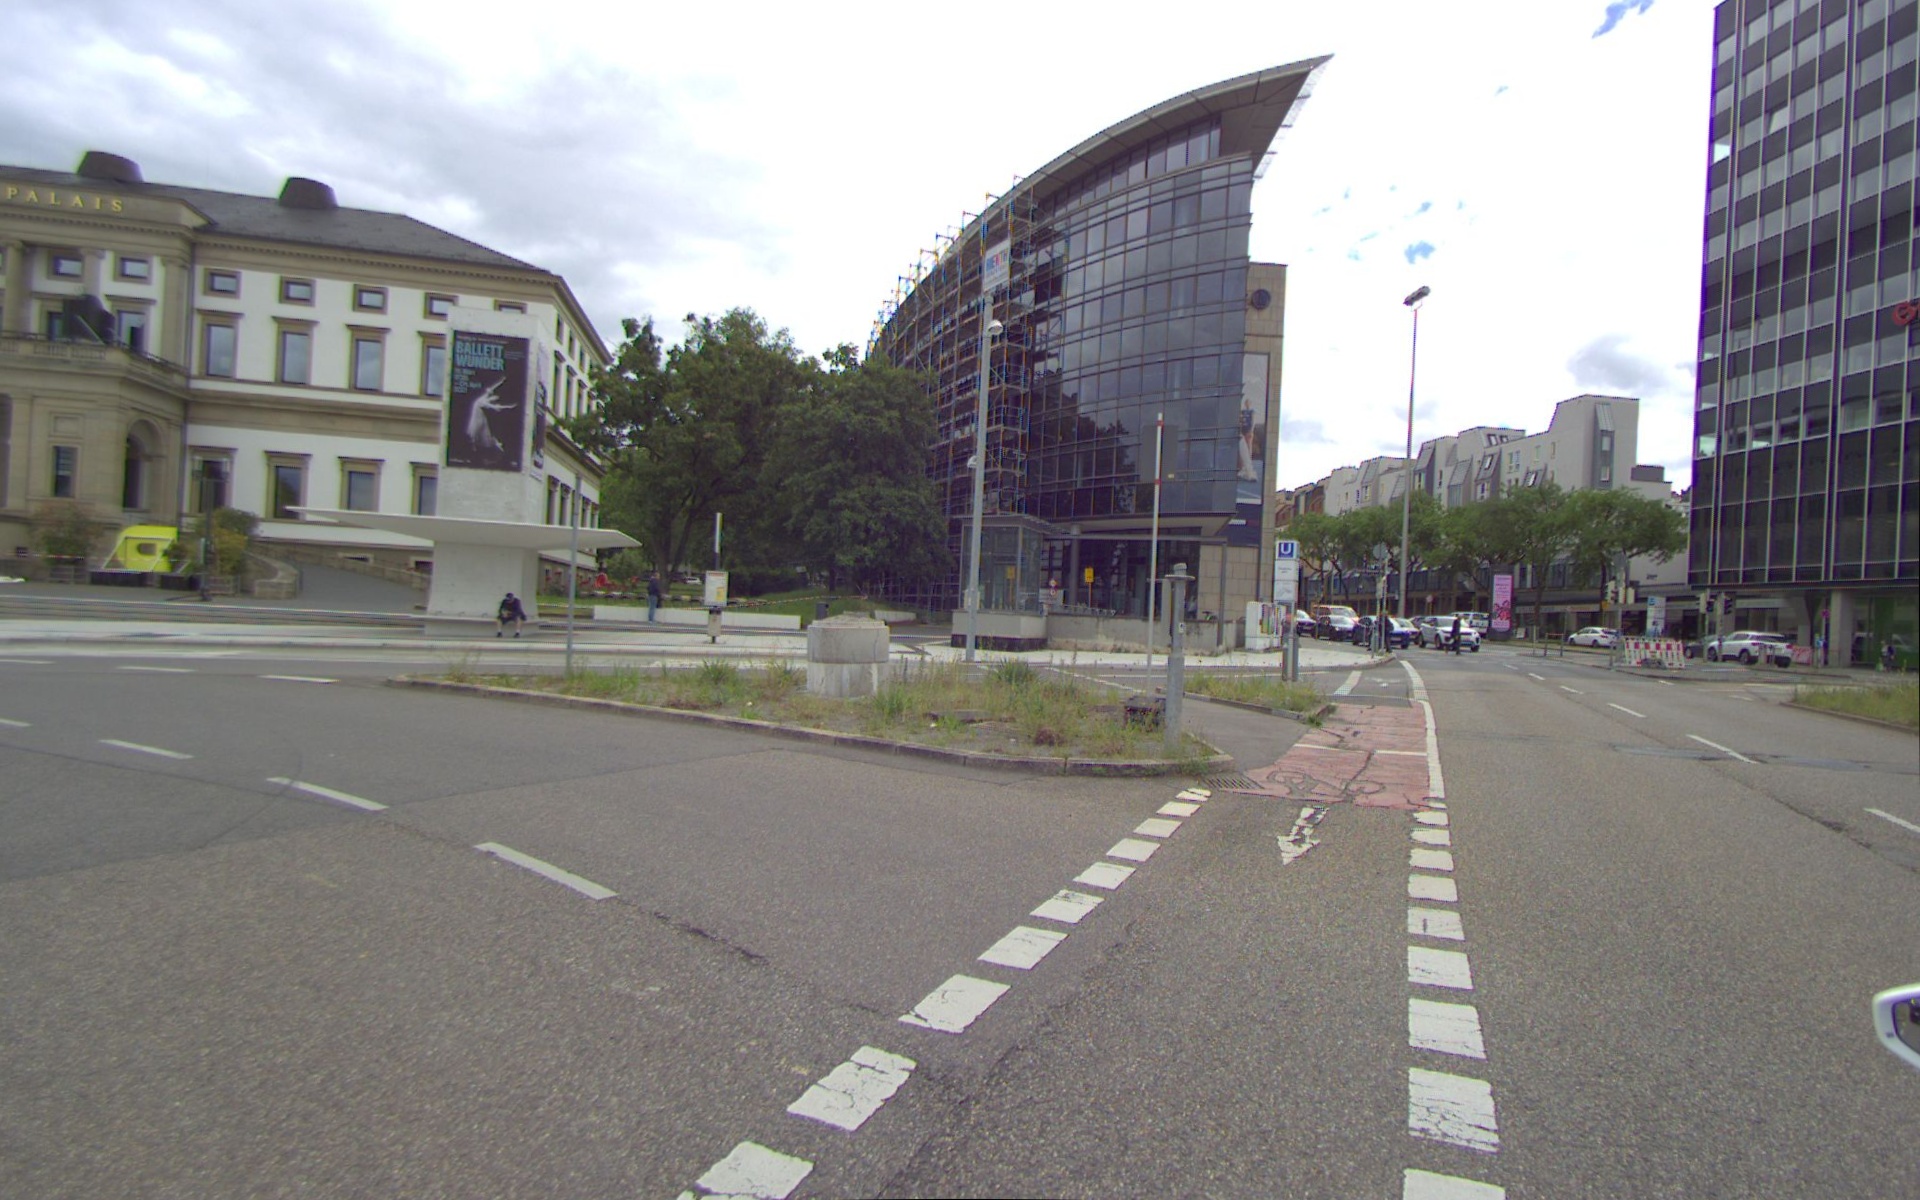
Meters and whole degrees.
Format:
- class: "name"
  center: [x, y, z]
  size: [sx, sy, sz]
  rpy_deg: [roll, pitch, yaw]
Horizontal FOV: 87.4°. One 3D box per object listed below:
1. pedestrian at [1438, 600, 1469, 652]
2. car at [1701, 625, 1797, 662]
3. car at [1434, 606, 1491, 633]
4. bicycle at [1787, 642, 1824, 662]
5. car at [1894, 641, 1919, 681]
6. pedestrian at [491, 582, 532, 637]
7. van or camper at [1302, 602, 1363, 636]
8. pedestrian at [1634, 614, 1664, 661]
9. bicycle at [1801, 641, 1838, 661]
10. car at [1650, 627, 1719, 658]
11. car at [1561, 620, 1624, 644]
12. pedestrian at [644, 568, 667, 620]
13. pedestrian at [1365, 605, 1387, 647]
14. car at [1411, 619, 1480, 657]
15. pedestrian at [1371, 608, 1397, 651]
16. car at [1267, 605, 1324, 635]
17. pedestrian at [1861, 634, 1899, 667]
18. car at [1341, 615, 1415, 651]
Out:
- class: "pedestrian"
  center: [21.385, 1.136, 43.534]
  size: [0.865, 2.201, 0.760]
  rpy_deg: [2, 1, -19]
- class: "car"
  center: [38.543, 2.093, 49.201]
  size: [1.801, 1.588, 3.768]
  rpy_deg: [2, 0, 3]
- class: "car"
  center: [39.819, 1.524, 79.729]
  size: [1.802, 1.899, 4.869]
  rpy_deg: [2, 0, -2]
- class: "bicycle"
  center: [50.185, 3.060, 59.614]
  size: [0.704, 1.062, 1.479]
  rpy_deg: [3, 1, -21]
- class: "car"
  center: [39.221, 2.499, 39.341]
  size: [1.801, 1.538, 3.768]
  rpy_deg: [2, 0, 3]
- class: "pedestrian"
  center: [-11.607, 0.237, 25.990]
  size: [0.746, 1.370, 0.705]
  rpy_deg: [2, 1, -6]
- class: "van or camper"
  center: [23.671, 1.157, 64.044]
  size: [1.881, 1.947, 5.083]
  rpy_deg: [2, 0, -1]
- class: "pedestrian"
  center: [27.086, 1.481, 39.509]
  size: [0.703, 1.815, 0.634]
  rpy_deg: [0, 2, -1]
- class: "bicycle"
  center: [51.004, 3.026, 59.625]
  size: [0.704, 1.062, 1.479]
  rpy_deg: [3, 1, -21]
- class: "car"
  center: [42.005, 2.430, 58.340]
  size: [1.828, 1.595, 4.002]
  rpy_deg: [2, 0, 14]
- class: "car"
  center: [43.168, 2.182, 68.697]
  size: [2.021, 1.437, 4.336]
  rpy_deg: [2, 0, 9]
- class: "pedestrian"
  center: [-11.052, -0.211, 36.496]
  size: [0.584, 1.838, 0.604]
  rpy_deg: [2, 1, 3]
- class: "pedestrian"
  center: [17.657, 1.087, 42.640]
  size: [0.631, 1.723, 0.632]
  rpy_deg: [3, 1, 4]
- class: "car"
  center: [23.966, 1.842, 49.736]
  size: [1.705, 1.620, 4.321]
  rpy_deg: [3, 0, 7]
- class: "pedestrian"
  center: [17.655, 1.222, 41.861]
  size: [0.754, 1.723, 0.632]
  rpy_deg: [3, 1, 4]
- class: "car"
  center: [21.250, 1.244, 63.877]
  size: [1.961, 1.667, 4.682]
  rpy_deg: [2, 1, -1]
- class: "pedestrian"
  center: [47.987, 2.628, 52.388]
  size: [1.047, 1.655, 0.962]
  rpy_deg: [2, 1, -7]
- class: "car"
  center: [20.846, 1.627, 50.279]
  size: [1.960, 1.545, 4.091]
  rpy_deg: [3, 0, 1]
